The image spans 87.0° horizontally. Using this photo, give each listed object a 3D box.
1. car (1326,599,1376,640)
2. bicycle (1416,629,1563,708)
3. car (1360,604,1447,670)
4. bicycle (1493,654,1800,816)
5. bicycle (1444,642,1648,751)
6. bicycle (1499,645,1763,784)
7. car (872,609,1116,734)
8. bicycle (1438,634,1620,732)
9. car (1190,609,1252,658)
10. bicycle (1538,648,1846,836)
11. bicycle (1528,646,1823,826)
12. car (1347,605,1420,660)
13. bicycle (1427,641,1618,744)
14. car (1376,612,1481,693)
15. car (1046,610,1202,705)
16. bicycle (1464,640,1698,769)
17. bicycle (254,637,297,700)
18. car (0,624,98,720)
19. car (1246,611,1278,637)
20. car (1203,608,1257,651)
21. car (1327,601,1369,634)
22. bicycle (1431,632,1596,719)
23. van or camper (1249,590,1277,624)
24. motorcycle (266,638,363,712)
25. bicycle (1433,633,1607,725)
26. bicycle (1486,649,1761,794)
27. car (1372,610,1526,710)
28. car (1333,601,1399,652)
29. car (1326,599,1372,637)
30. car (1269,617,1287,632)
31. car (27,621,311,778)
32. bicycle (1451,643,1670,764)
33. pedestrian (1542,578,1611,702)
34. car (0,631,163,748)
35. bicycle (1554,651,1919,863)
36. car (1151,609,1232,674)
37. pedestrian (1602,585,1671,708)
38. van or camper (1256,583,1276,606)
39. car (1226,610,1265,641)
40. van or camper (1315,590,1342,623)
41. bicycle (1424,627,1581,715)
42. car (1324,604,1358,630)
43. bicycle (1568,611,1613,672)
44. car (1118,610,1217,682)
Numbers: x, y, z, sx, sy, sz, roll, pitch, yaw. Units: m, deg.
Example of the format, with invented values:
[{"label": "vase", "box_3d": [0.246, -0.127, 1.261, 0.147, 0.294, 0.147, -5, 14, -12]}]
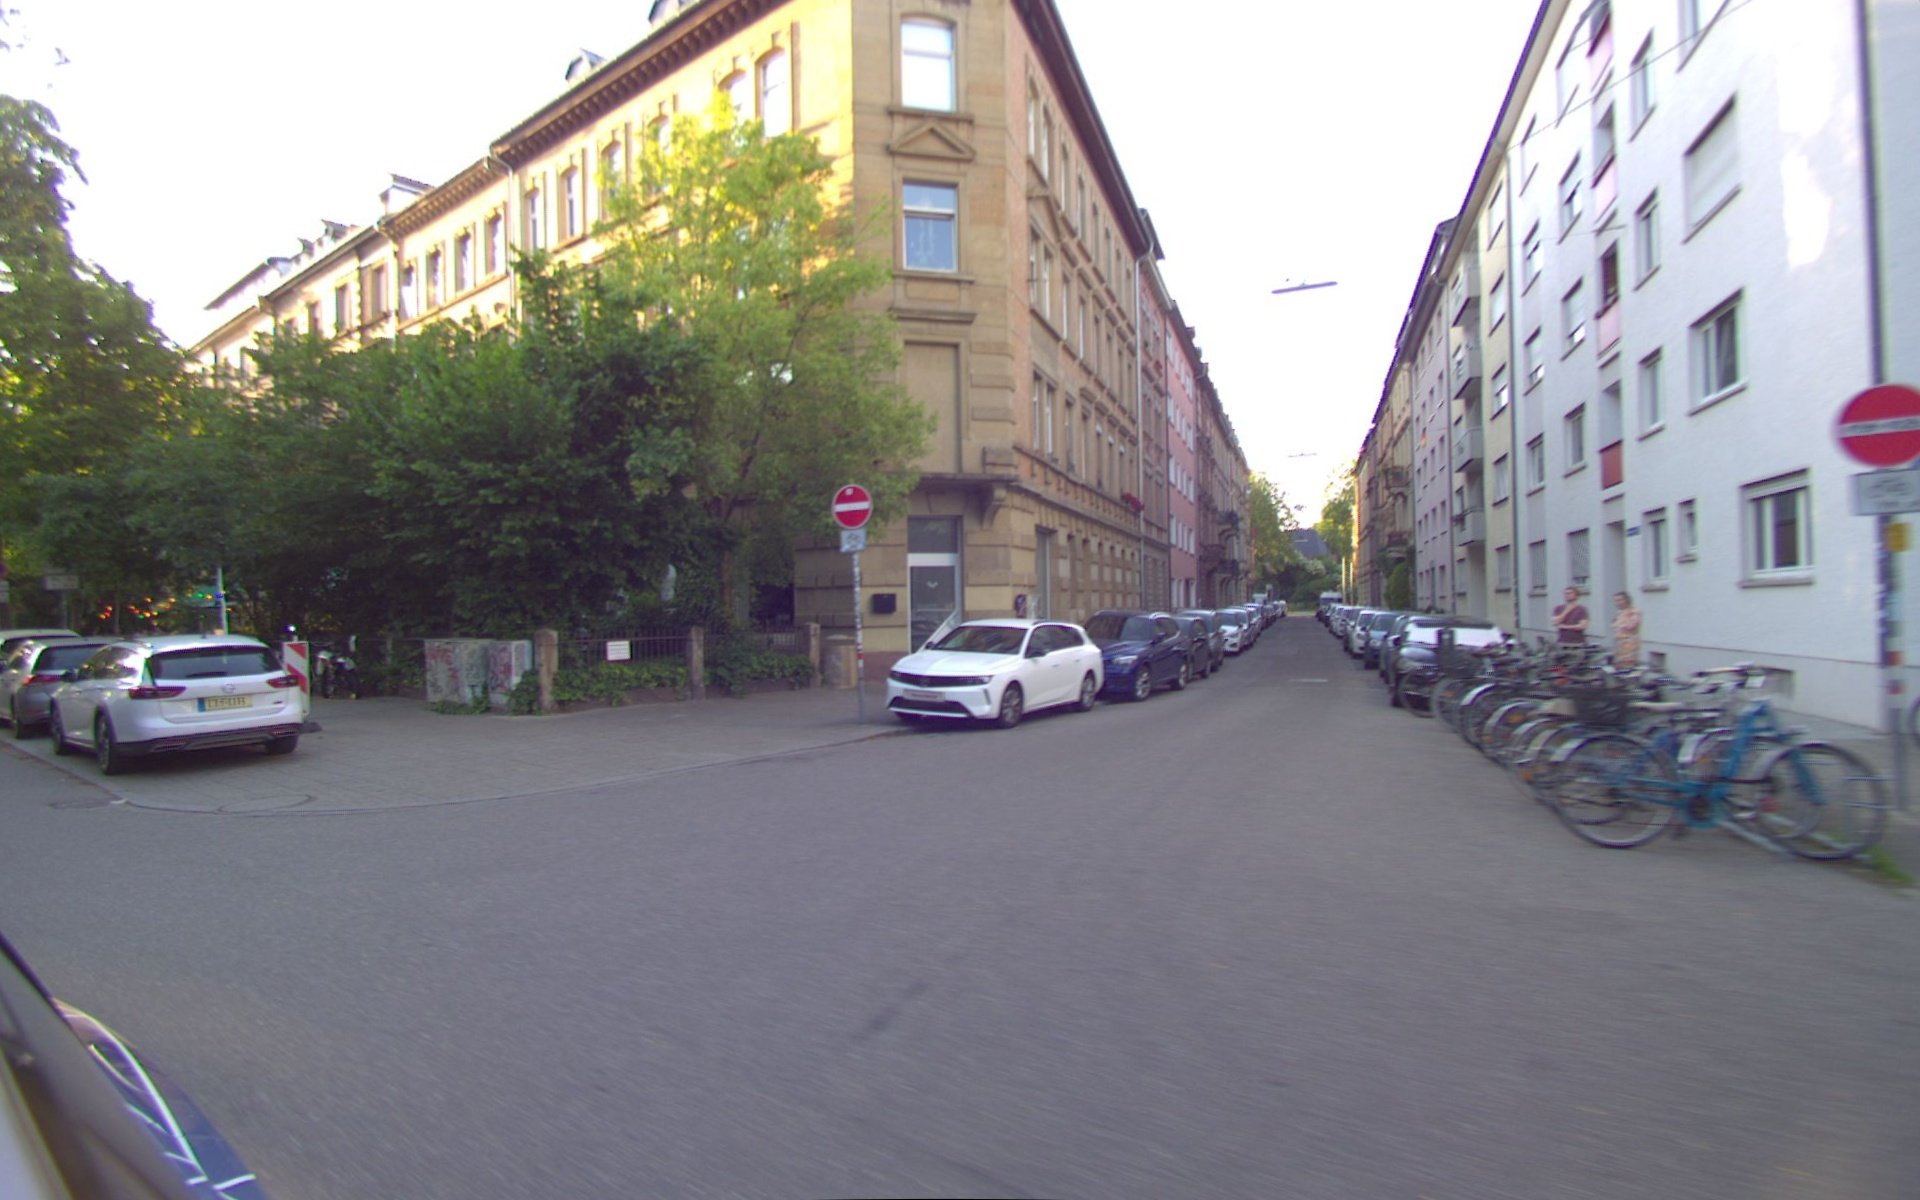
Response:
[{"label": "car", "box_3d": [18.041, 0.876, 46.837, 1.985, 1.785, 3.973, -2, -1, 20]}, {"label": "bicycle", "box_3d": [7.708, 1.004, 14.796, 1.836, 1.113, 0.365, -2, -1, 17]}, {"label": "car", "box_3d": [11.695, 0.936, 26.890, 1.828, 1.567, 3.973, -2, -1, 20]}, {"label": "bicycle", "box_3d": [5.044, 0.985, 7.523, 1.834, 1.117, 0.365, -2, -1, 14]}, {"label": "bicycle", "box_3d": [6.279, 1.035, 10.921, 1.834, 1.125, 0.365, -2, -1, 14]}, {"label": "bicycle", "box_3d": [5.708, 0.971, 8.687, 1.834, 1.117, 0.365, -2, -1, 14]}, {"label": "car", "box_3d": [0.679, 0.958, 15.008, 1.702, 1.564, 4.421, -3, -2, 30]}, {"label": "bicycle", "box_3d": [6.842, 0.998, 12.250, 1.837, 1.125, 0.399, -2, -1, 20]}, {"label": "car", "box_3d": [9.041, 1.106, 34.893, 1.696, 1.564, 3.849, 0, 0, 20]}, {"label": "bicycle", "box_3d": [4.864, 0.937, 6.795, 1.663, 1.190, 0.242, -2, -1, 14]}, {"label": "bicycle", "box_3d": [4.935, 0.931, 7.048, 1.663, 1.190, 0.242, -2, -1, 14]}, {"label": "car", "box_3d": [13.021, 0.970, 31.296, 1.832, 1.563, 4.080, -2, -1, 20]}, {"label": "bicycle", "box_3d": [6.352, 1.047, 11.498, 1.834, 1.125, 0.365, -2, -1, 14]}, {"label": "car", "box_3d": [9.816, 1.021, 21.432, 1.678, 1.464, 3.694, 2, 0, 20]}, {"label": "car", "box_3d": [3.208, 0.991, 19.163, 1.701, 1.564, 4.066, 0, -1, 28]}, {"label": "bicycle", "box_3d": [5.874, 0.985, 9.650, 1.834, 1.161, 0.365, -2, -1, 14]}, {"label": "bicycle", "box_3d": [-15.002, 1.471, 22.222, 0.597, 1.294, 2.493, 0, -2, -30]}, {"label": "car", "box_3d": [-18.140, 1.352, 19.392, 4.398, 1.575, 1.673, -3, 1, 40]}, {"label": "car", "box_3d": [18.717, 1.452, 62.664, 1.696, 1.540, 3.850, 0, 0, 19]}, {"label": "car", "box_3d": [10.616, 1.115, 39.664, 1.697, 1.564, 3.848, 0, 0, 21]}, {"label": "car", "box_3d": [21.112, 0.938, 55.104, 1.986, 1.691, 3.972, -2, -1, 21]}, {"label": "bicycle", "box_3d": [7.295, 0.997, 13.401, 1.836, 1.113, 0.365, -2, -1, 17]}, {"label": "van or camper", "box_3d": [25.953, 0.593, 86.548, 2.068, 2.747, 5.344, 0, 0, 19]}, {"label": "motorcycle", "box_3d": [-11.593, 1.302, 18.131, 2.889, 1.165, 0.576, -1, 2, 40]}, {"label": "bicycle", "box_3d": [6.987, 0.987, 12.704, 1.836, 1.113, 0.365, -2, -1, 17]}, {"label": "bicycle", "box_3d": [5.400, 0.984, 8.325, 1.834, 1.117, 0.365, -2, -1, 14]}, {"label": "car", "box_3d": [8.238, 0.927, 17.373, 1.784, 1.484, 3.693, 1, 0, 17]}, {"label": "car", "box_3d": [14.284, 0.898, 35.758, 1.985, 1.652, 3.973, -2, -1, 20]}, {"label": "car", "box_3d": [19.527, 0.901, 50.965, 1.985, 1.785, 3.974, -2, -1, 19]}, {"label": "car", "box_3d": [33.417, 2.544, 106.333, 1.696, 1.540, 3.850, 0, 0, 19]}, {"label": "car", "box_3d": [-9.900, 1.119, 12.516, 4.732, 1.513, 1.673, -3, 1, 39]}, {"label": "bicycle", "box_3d": [6.030, 1.039, 10.233, 1.834, 1.161, 0.365, -2, -1, 14]}, {"label": "pedestrian", "box_3d": [9.212, 0.587, 15.151, 0.618, 1.778, 0.499, -6, -1, 18]}, {"label": "car", "box_3d": [-14.514, 1.324, 16.303, 4.398, 1.513, 1.673, -1, 2, 40]}, {"label": "bicycle", "box_3d": [4.720, 0.919, 6.166, 1.860, 1.190, 0.336, 0, -1, 14]}, {"label": "car", "box_3d": [6.534, 1.094, 28.304, 1.697, 1.659, 3.848, 0, 0, 21]}, {"label": "pedestrian", "box_3d": [9.688, 0.657, 14.518, 0.578, 1.695, 0.533, -5, -1, 20]}, {"label": "van or camper", "box_3d": [36.984, -0.627, 122.239, 2.068, 2.704, 5.344, 0, 0, 19]}, {"label": "car", "box_3d": [14.671, 1.283, 51.906, 1.696, 1.540, 3.850, 0, 0, 19]}, {"label": "van or camper", "box_3d": [32.000, 0.582, 87.965, 2.068, 2.747, 5.344, 0, 0, 19]}, {"label": "bicycle", "box_3d": [7.469, 0.977, 13.988, 1.836, 1.174, 0.365, -2, -1, 17]}, {"label": "car", "box_3d": [24.920, 1.092, 66.223, 1.986, 1.658, 3.972, -2, -1, 21]}, {"label": "bicycle", "box_3d": [13.267, 0.853, 21.323, 0.394, 1.216, 1.865, -2, -1, 20]}, {"label": "car", "box_3d": [5.038, 1.025, 24.169, 1.697, 1.564, 3.847, 0, 0, 21]}]
